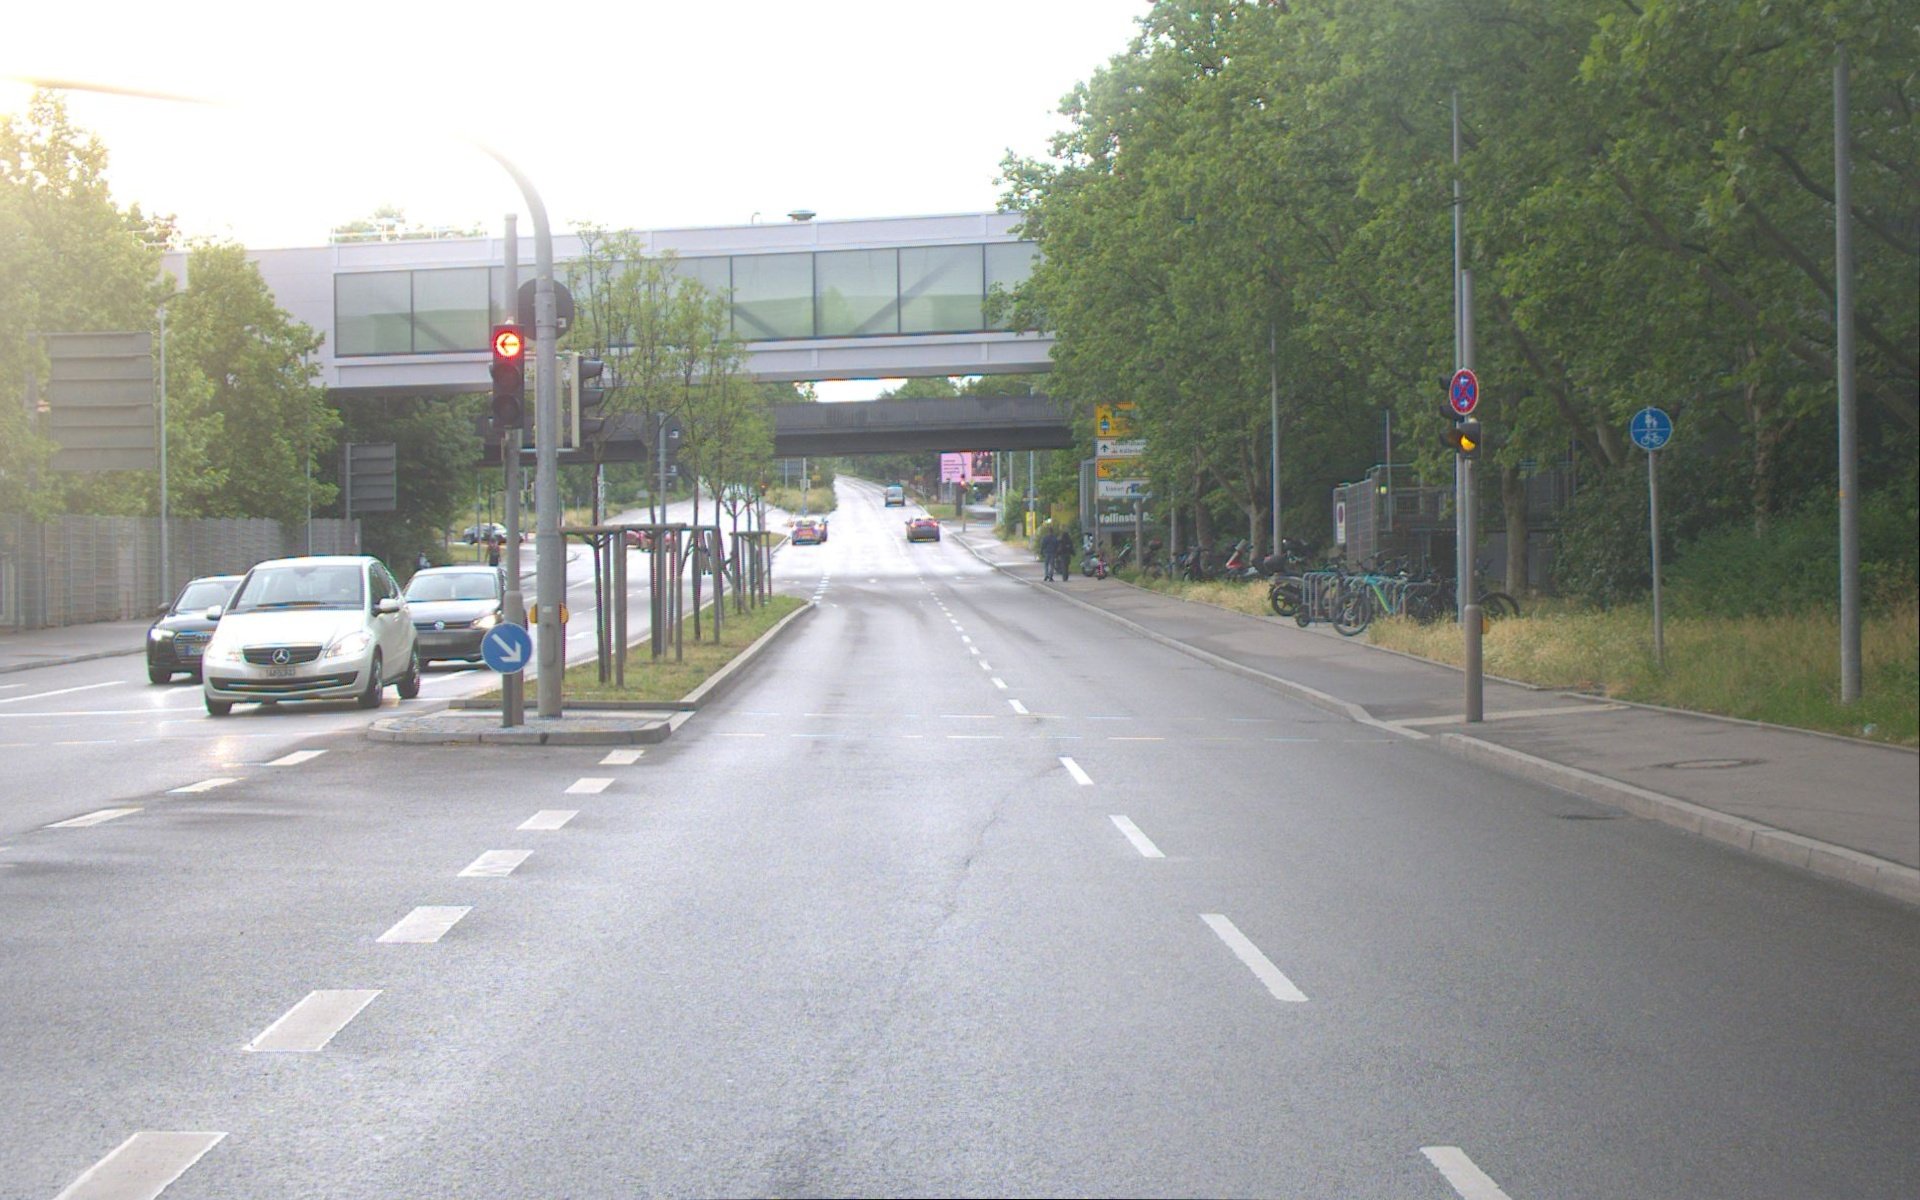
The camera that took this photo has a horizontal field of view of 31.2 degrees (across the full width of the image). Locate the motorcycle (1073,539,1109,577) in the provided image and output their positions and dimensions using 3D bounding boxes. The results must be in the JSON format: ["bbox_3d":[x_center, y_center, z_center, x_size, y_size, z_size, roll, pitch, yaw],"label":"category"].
[{"bbox_3d":[4.621,-1.469,121.082,0.790,1.307,2.377,-2,1,-9],"label":"motorcycle"}]

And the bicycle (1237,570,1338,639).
[{"bbox_3d":[6.588,0.095,69.203,1.960,1.324,0.576,2,-1,0],"label":"bicycle"}]

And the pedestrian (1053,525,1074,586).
[{"bbox_3d":[3.429,-1.475,114.263,0.622,2.007,0.605,-1,0,0],"label":"pedestrian"}]

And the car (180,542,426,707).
[{"bbox_3d":[-6.876,0.227,36.348,1.877,1.619,3.779,-1,1,0],"label":"car"}]

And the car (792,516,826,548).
[{"bbox_3d":[-9.196,-4.137,210.019,1.884,1.756,3.969,2,0,0],"label":"car"}]

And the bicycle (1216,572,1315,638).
[{"bbox_3d":[6.355,0.104,71.494,1.963,1.324,0.654,2,-1,0],"label":"bicycle"}]

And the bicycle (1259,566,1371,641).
[{"bbox_3d":[6.589,0.072,63.914,1.990,1.324,0.576,2,-1,0],"label":"bicycle"}]

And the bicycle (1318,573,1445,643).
[{"bbox_3d":[6.904,0.129,56.334,1.990,1.091,0.541,2,-1,0],"label":"bicycle"}]

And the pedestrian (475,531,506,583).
[{"bbox_3d":[-18.834,-1.726,137.995,0.872,1.998,0.855,5,-3,-29],"label":"pedestrian"}]

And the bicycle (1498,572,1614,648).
[{"bbox_3d":[10.877,0.189,62.766,1.990,1.324,0.576,2,-1,0],"label":"bicycle"}]

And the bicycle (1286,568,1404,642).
[{"bbox_3d":[6.786,0.088,60.634,1.990,1.237,0.541,2,-1,0],"label":"bicycle"}]

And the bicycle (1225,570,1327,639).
[{"bbox_3d":[6.420,0.095,69.893,1.963,1.324,0.654,2,-1,0],"label":"bicycle"}]

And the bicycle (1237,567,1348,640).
[{"bbox_3d":[6.256,0.068,64.723,1.990,1.324,0.576,2,-1,0],"label":"bicycle"}]

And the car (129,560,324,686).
[{"bbox_3d":[-10.052,0.284,47.348,1.877,1.619,3.779,-1,1,0],"label":"car"}]

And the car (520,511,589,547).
[{"bbox_3d":[-23.873,-4.186,202.408,1.994,2.007,3.998,2,-1,-44],"label":"car"}]

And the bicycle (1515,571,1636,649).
[{"bbox_3d":[10.875,0.176,60.784,1.990,1.324,0.576,2,-1,0],"label":"bicycle"}]

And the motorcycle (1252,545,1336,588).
[{"bbox_3d":[9.641,-0.969,99.333,2.369,1.198,0.722,-1,0,7],"label":"motorcycle"}]

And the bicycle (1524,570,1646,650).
[{"bbox_3d":[10.903,0.172,60.020,1.990,1.324,0.576,2,-1,0],"label":"bicycle"}]

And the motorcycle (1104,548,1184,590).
[{"bbox_3d":[5.606,-0.940,104.764,2.369,1.198,0.722,-1,0,7],"label":"motorcycle"}]

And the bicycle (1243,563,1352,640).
[{"bbox_3d":[6.508,0.024,66.400,1.990,1.425,0.723,2,-1,0],"label":"bicycle"}]

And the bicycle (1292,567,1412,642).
[{"bbox_3d":[6.801,0.082,59.685,1.990,1.237,0.541,2,-1,0],"label":"bicycle"}]

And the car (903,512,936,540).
[{"bbox_3d":[-2.347,-4.299,200.848,1.875,1.492,4.068,2,0,0],"label":"car"}]

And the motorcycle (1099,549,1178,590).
[{"bbox_3d":[5.568,-0.957,106.945,2.369,1.198,0.792,-1,0,7],"label":"motorcycle"}]

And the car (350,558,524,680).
[{"bbox_3d":[-7.351,0.237,48.651,1.877,1.619,3.779,-1,1,0],"label":"car"}]

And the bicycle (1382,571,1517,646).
[{"bbox_3d":[7.574,0.135,53.267,1.990,1.091,0.541,2,-1,0],"label":"bicycle"}]

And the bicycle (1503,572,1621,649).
[{"bbox_3d":[10.874,0.185,62.097,1.990,1.324,0.576,2,-1,0],"label":"bicycle"}]

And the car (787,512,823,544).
[{"bbox_3d":[-9.252,-4.303,205.489,1.993,1.756,4.000,2,0,0],"label":"car"}]

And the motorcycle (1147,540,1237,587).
[{"bbox_3d":[6.315,-0.997,93.447,2.369,1.198,0.722,-1,0,7],"label":"motorcycle"}]

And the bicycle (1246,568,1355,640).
[{"bbox_3d":[6.505,0.081,65.667,1.990,1.324,0.576,2,-1,0],"label":"bicycle"}]

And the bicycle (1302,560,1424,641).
[{"bbox_3d":[6.906,0.014,58.994,1.990,1.336,0.541,2,-1,0],"label":"bicycle"}]

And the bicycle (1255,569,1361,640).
[{"bbox_3d":[6.799,0.089,67.254,1.990,1.324,0.576,2,-1,0],"label":"bicycle"}]

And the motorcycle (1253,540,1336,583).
[{"bbox_3d":[9.760,-1.123,100.250,2.369,1.198,0.722,-1,0,7],"label":"motorcycle"}]

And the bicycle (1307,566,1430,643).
[{"bbox_3d":[6.924,0.076,58.281,1.990,1.237,0.541,2,-1,0],"label":"bicycle"}]

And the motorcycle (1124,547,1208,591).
[{"bbox_3d":[6.010,-0.909,100.384,2.369,1.198,0.722,-1,0,7],"label":"motorcycle"}]

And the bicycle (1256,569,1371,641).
[{"bbox_3d":[6.371,0.085,62.008,1.990,1.237,0.541,2,-1,0],"label":"bicycle"}]

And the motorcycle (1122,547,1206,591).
[{"bbox_3d":[5.898,-0.906,99.469,2.369,1.198,0.722,-1,0,7],"label":"motorcycle"}]

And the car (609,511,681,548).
[{"bbox_3d":[-18.031,-4.053,196.877,1.994,2.007,3.998,2,-1,-44],"label":"car"}]

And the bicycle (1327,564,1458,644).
[{"bbox_3d":[6.875,0.064,54.726,1.990,1.212,0.541,2,-1,0],"label":"bicycle"}]

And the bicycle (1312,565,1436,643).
[{"bbox_3d":[6.922,0.071,57.539,1.990,1.237,0.541,2,-1,0],"label":"bicycle"}]

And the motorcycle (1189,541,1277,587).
[{"bbox_3d":[7.598,-1.001,95.644,2.369,1.198,0.722,-1,0,7],"label":"motorcycle"}]

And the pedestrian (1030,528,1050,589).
[{"bbox_3d":[2.659,-1.387,114.354,0.622,2.007,0.605,-1,0,0],"label":"pedestrian"}]

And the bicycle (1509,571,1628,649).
[{"bbox_3d":[10.868,0.180,61.449,1.990,1.324,0.576,2,-1,0],"label":"bicycle"}]

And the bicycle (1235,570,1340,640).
[{"bbox_3d":[6.462,0.095,67.965,1.990,1.324,0.576,2,-1,0],"label":"bicycle"}]

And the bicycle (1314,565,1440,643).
[{"bbox_3d":[6.904,0.071,56.938,1.990,1.229,0.541,2,-1,0],"label":"bicycle"}]

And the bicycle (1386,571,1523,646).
[{"bbox_3d":[7.580,0.131,52.699,1.990,1.091,0.541,2,-1,0],"label":"bicycle"}]

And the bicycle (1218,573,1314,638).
[{"bbox_3d":[6.510,0.120,73.212,1.963,1.324,0.654,2,-1,0],"label":"bicycle"}]

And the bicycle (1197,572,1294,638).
[{"bbox_3d":[6.014,0.100,72.408,1.963,1.324,0.654,2,-1,0],"label":"bicycle"}]

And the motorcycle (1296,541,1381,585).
[{"bbox_3d":[10.776,-1.055,97.779,2.369,1.198,0.722,-1,0,7],"label":"motorcycle"}]
